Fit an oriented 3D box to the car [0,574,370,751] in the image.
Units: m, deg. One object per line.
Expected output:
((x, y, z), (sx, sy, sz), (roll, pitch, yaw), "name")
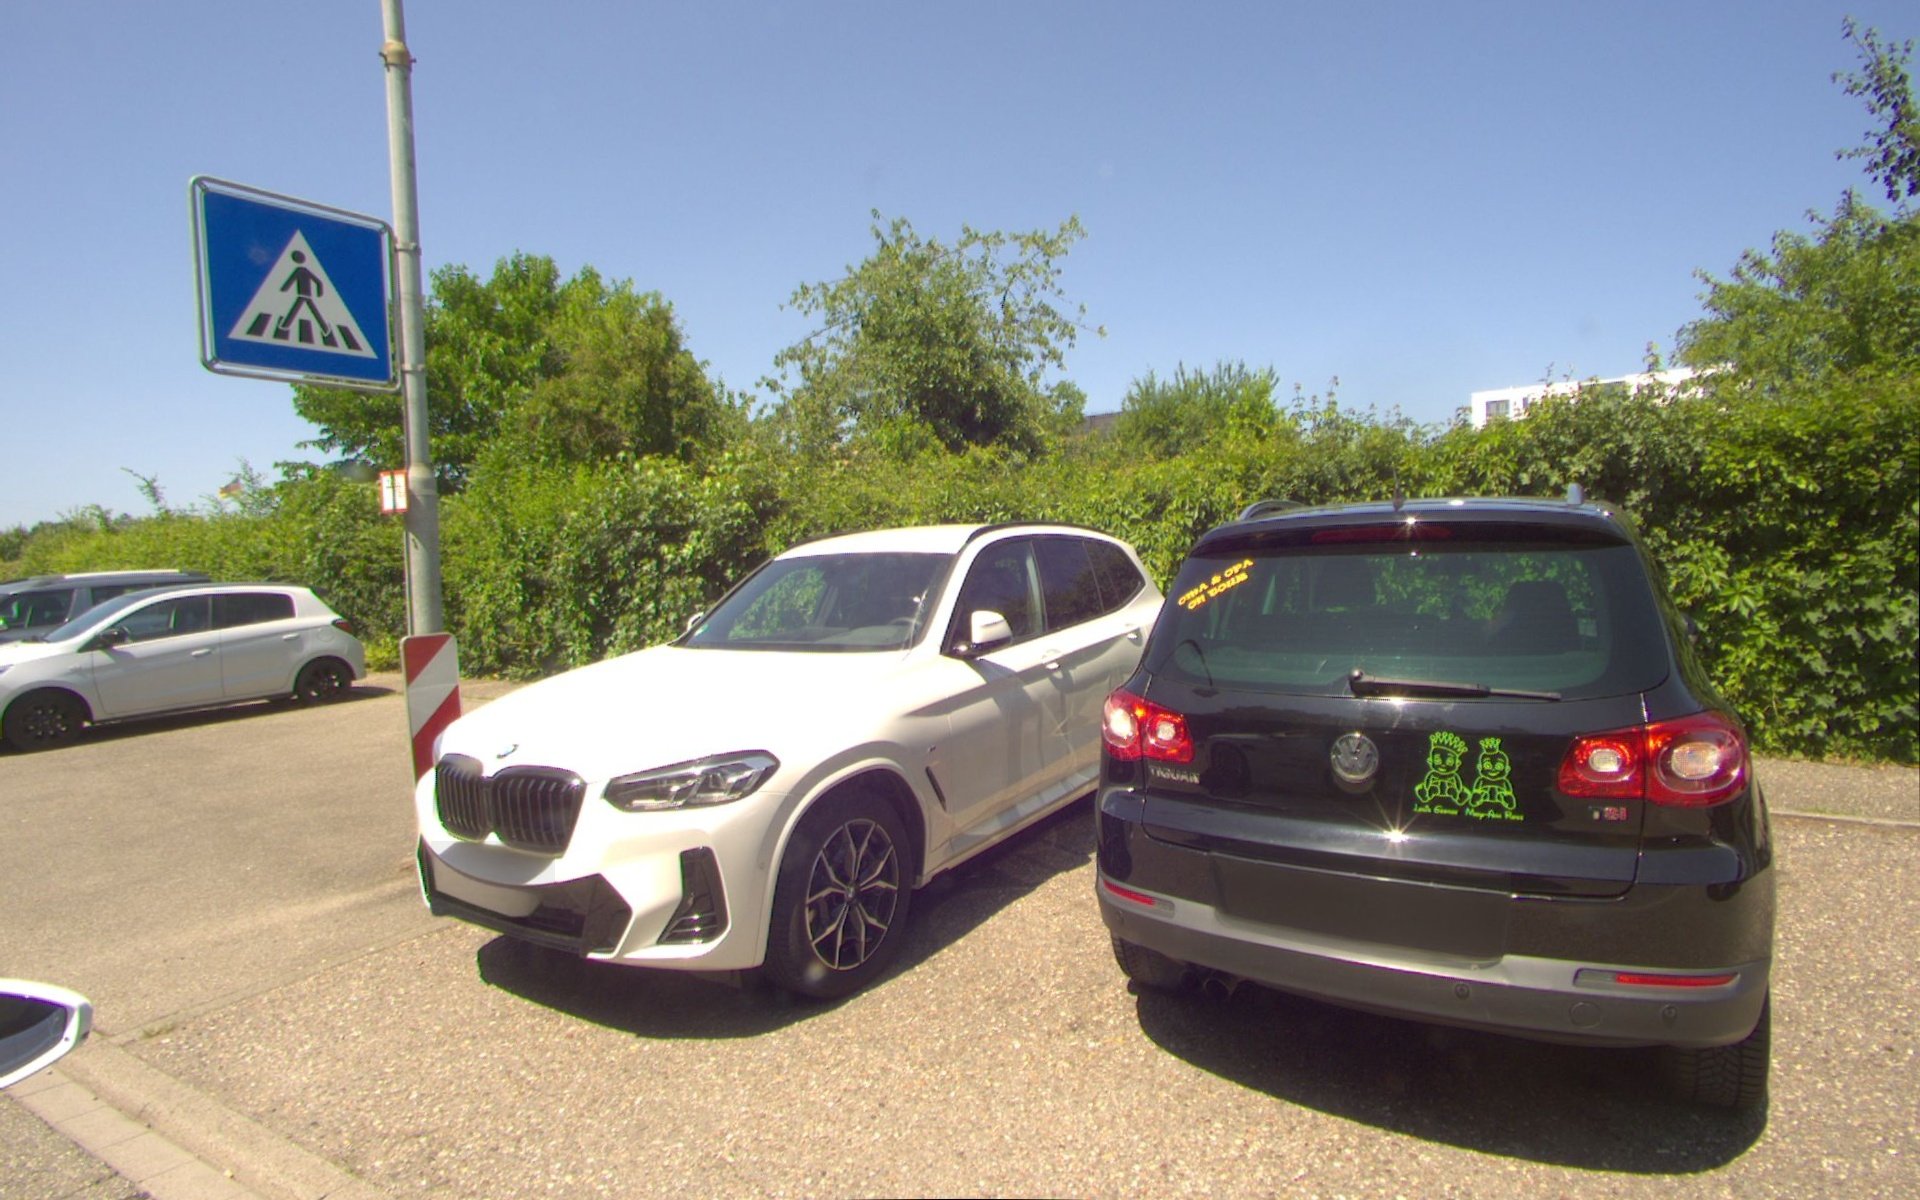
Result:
((-8.789, 0.557, 10.911), (1.588, 1.471, 3.673), (1, 5, 36), "car")

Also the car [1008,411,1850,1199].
((1.921, 0.419, 4.002), (1.741, 1.709, 3.962), (0, 3, 32), "car")

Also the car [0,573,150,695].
((-13.699, 0.514, 13.868), (1.515, 1.549, 3.446), (0, 5, 28), "car")

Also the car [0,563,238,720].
((-11.404, 0.496, 12.090), (1.637, 1.664, 3.953), (0, 5, 27), "car")

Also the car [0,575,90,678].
((-16.179, 0.518, 15.235), (1.835, 1.545, 3.955), (0, 5, 27), "car")

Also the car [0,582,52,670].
((-18.291, 0.522, 17.421), (1.566, 1.525, 3.374), (1, 4, 36), "car")

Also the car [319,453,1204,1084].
((-0.393, 0.379, 5.127), (1.825, 1.753, 4.440), (-1, 3, 33), "car")
